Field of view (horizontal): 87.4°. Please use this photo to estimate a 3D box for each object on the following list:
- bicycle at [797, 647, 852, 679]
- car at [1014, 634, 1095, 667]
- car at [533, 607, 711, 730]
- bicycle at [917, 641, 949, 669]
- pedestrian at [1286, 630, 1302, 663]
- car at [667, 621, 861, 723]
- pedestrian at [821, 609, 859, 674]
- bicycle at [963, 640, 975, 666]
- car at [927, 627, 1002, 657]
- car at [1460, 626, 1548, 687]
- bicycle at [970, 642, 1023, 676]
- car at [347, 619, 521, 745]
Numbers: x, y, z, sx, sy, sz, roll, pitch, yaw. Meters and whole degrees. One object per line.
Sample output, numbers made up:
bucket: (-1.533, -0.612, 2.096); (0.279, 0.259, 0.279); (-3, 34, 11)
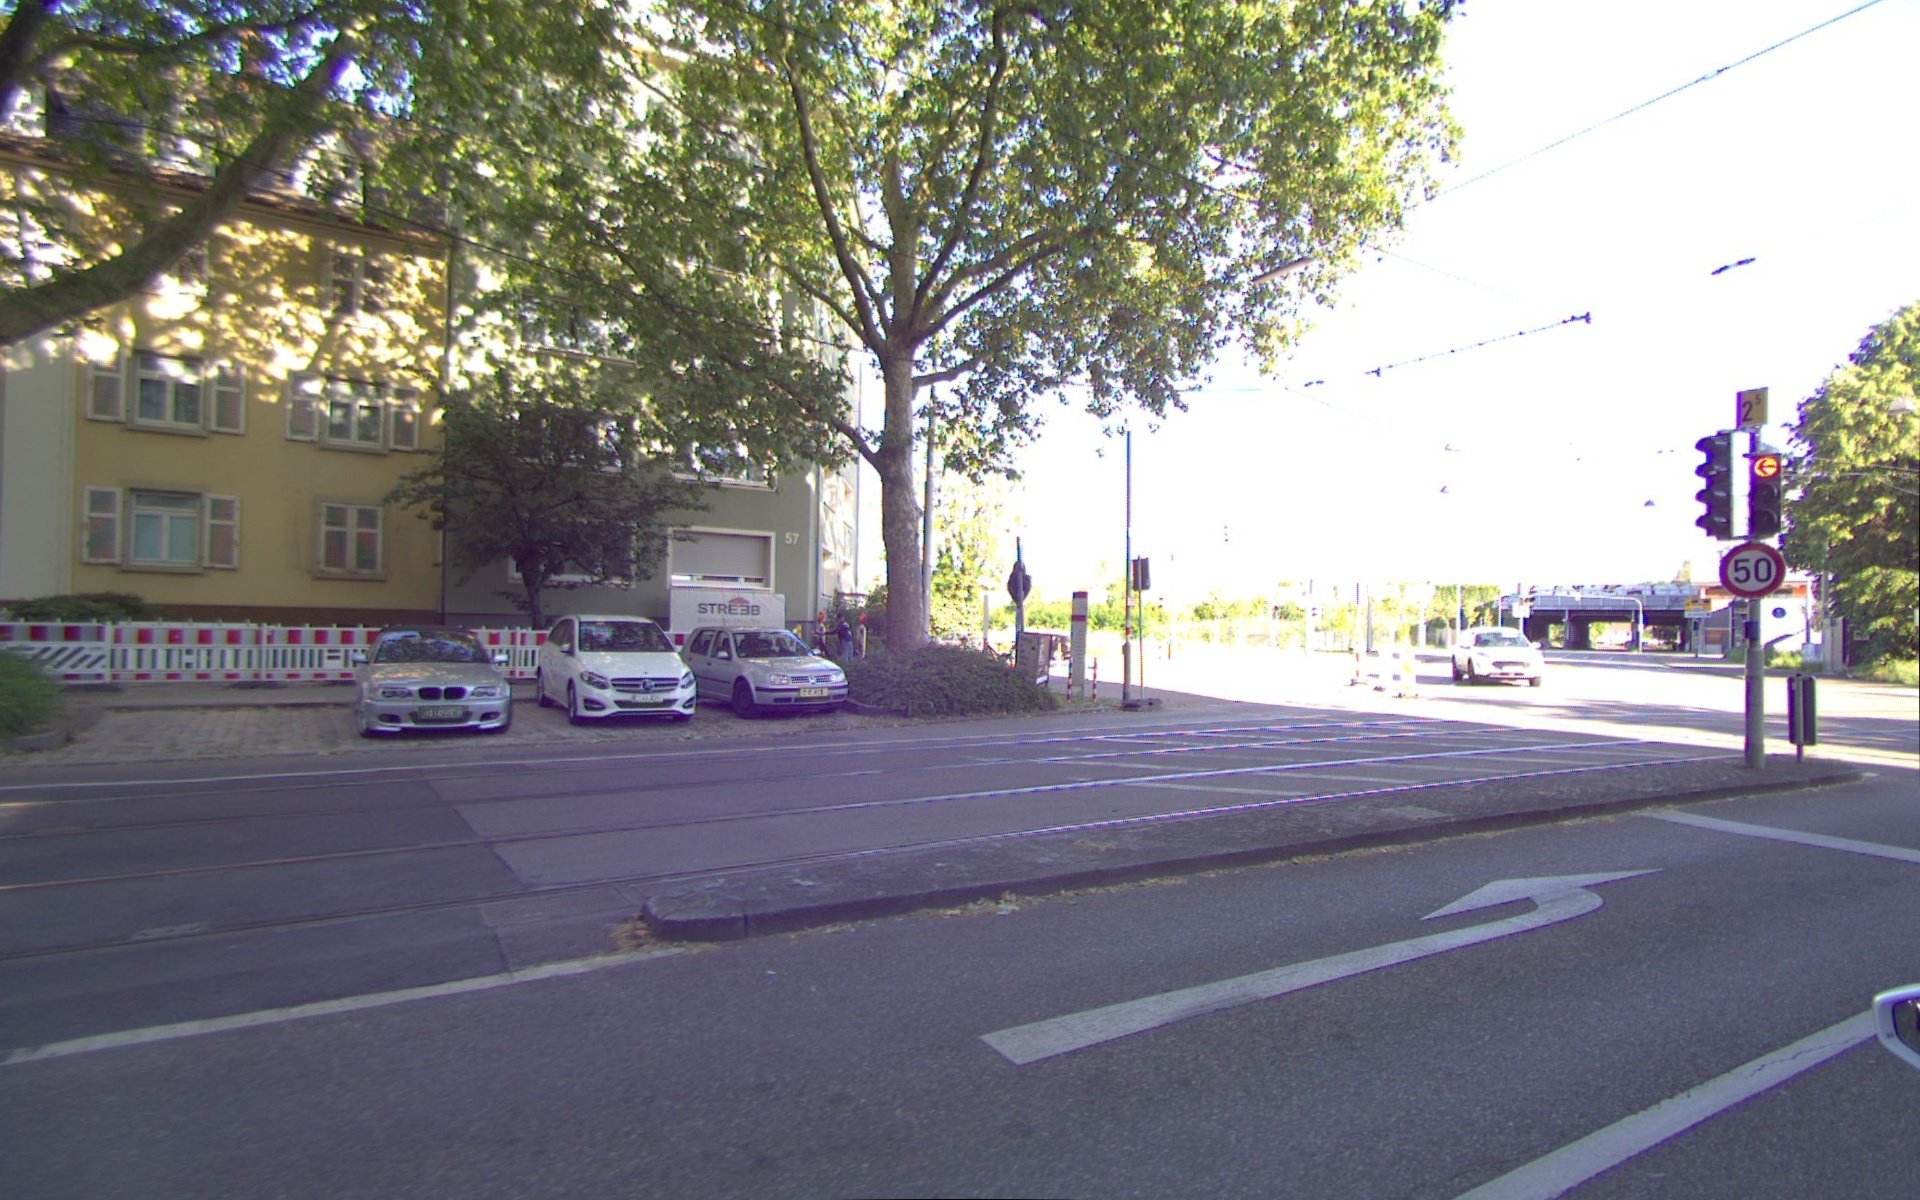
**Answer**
bicycle: (-3.424, 1.592, 25.526); (0.352, 0.769, 1.776); (0, -2, 31)
car: (5.121, 2.724, 54.449); (3.932, 1.439, 1.888); (1, 5, 33)
car: (-5.453, 0.985, 15.888); (1.823, 1.633, 4.050); (3, -1, -30)
bicycle: (-0.770, 1.597, 29.177); (0.351, 0.769, 1.781); (1, -1, 17)
pedestrian: (17.103, 2.376, 51.431); (0.591, 1.617, 0.683); (2, -1, 34)
car: (-3.484, 1.165, 17.314); (1.689, 1.436, 3.958); (3, -1, -37)
pedestrian: (-2.986, 1.018, 25.011); (0.592, 1.589, 0.741); (0, -1, 32)
bicycle: (0.268, 1.634, 31.313); (0.351, 0.769, 1.781); (1, -1, 0)
car: (0.247, 2.391, 57.882); (3.932, 1.439, 1.888); (1, 5, 33)
car: (16.347, 1.662, 30.367); (1.962, 1.653, 4.628); (0, -2, 24)
bicycle: (1.011, 1.644, 28.206); (0.356, 0.900, 1.758); (2, -2, -42)
car: (-7.397, 1.036, 13.997); (1.823, 1.386, 4.050); (3, -1, -30)
